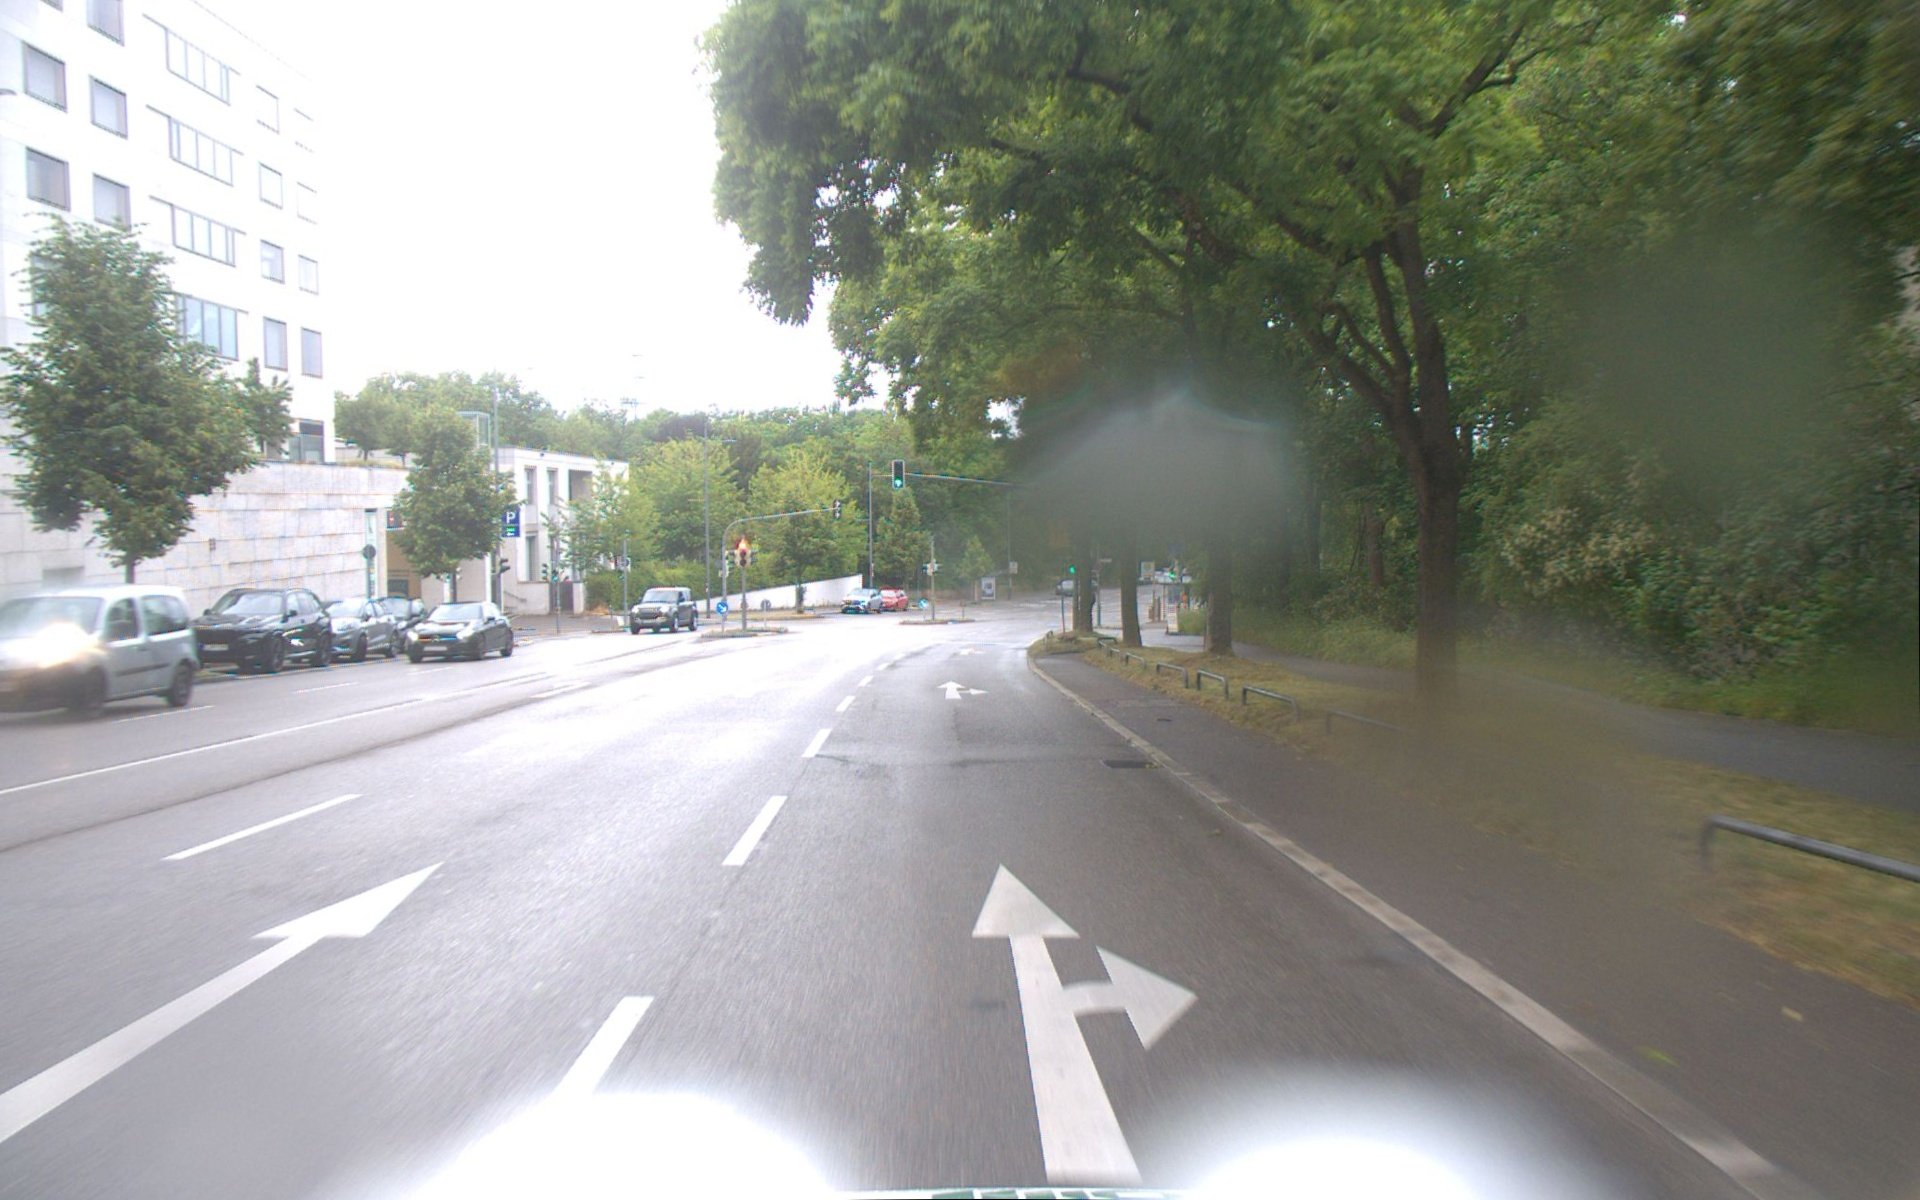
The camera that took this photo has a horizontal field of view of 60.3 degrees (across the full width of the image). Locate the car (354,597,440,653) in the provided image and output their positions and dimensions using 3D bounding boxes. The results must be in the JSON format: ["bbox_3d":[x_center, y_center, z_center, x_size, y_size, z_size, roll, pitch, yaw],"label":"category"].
[{"bbox_3d":[-16.199,0.690,47.708,1.477,1.541,2.980,1,0,-1],"label":"car"}]

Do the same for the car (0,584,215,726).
[{"bbox_3d":[-12.124,0.670,23.016,1.675,1.777,4.336,-1,1,-2],"label":"car"}]

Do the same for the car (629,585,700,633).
[{"bbox_3d":[-12.706,0.349,71.447,1.880,1.889,4.508,-4,0,3],"label":"car"}]

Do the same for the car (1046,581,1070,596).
[{"bbox_3d":[10.151,-1.197,171.333,1.677,1.486,3.752,1,0,17],"label":"car"}]

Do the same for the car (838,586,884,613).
[{"bbox_3d":[-6.639,-0.032,111.829,1.814,1.668,4.097,3,1,15],"label":"car"}]

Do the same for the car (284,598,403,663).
[{"bbox_3d":[-15.456,0.738,41.656,1.645,1.541,3.709,1,0,-1],"label":"car"}]

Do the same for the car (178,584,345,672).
[{"bbox_3d":[-15.151,0.565,36.153,1.819,1.812,4.595,0,0,-2],"label":"car"}]

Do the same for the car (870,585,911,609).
[{"bbox_3d":[-4.978,-0.226,119.244,1.835,1.602,4.226,2,1,14],"label":"car"}]

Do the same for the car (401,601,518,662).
[{"bbox_3d":[-12.585,0.757,41.844,1.734,1.405,4.189,-2,0,-1],"label":"car"}]
